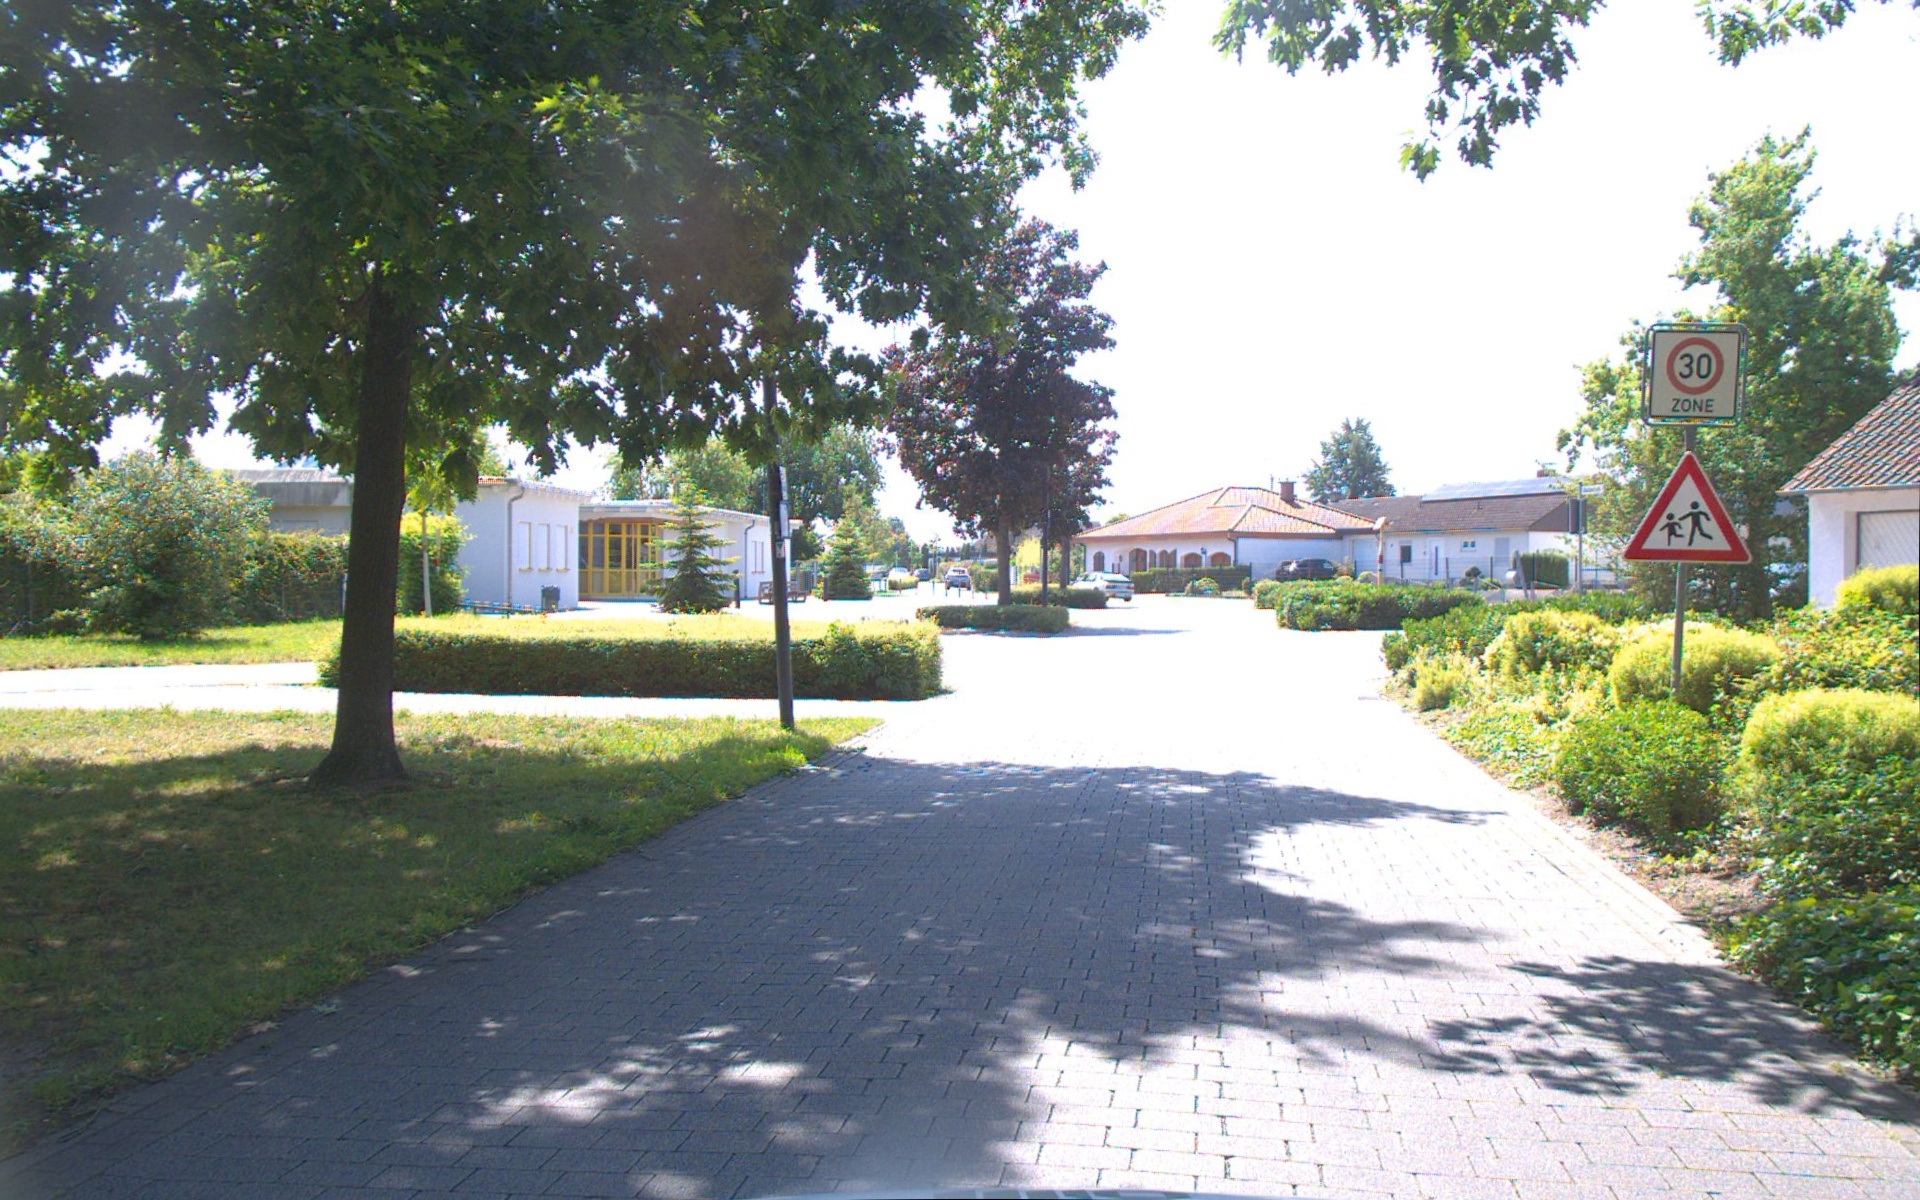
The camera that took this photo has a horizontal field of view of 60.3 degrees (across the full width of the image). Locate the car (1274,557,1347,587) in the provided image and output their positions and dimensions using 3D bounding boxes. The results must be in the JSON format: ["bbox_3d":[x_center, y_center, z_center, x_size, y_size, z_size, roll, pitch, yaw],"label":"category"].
[{"bbox_3d":[18.833,-1.513,88.870,3.794,1.569,1.831,-1,1,-36],"label":"car"}]

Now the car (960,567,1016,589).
[{"bbox_3d":[1.631,-1.307,97.426,1.966,1.310,3.973,0,1,-22],"label":"car"}]

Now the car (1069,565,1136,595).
[{"bbox_3d":[6.466,-0.920,75.353,1.592,1.310,3.532,0,1,-22],"label":"car"}]

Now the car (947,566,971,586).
[{"bbox_3d":[-0.078,-1.631,111.270,1.581,1.310,3.556,0,1,-1],"label":"car"}]
